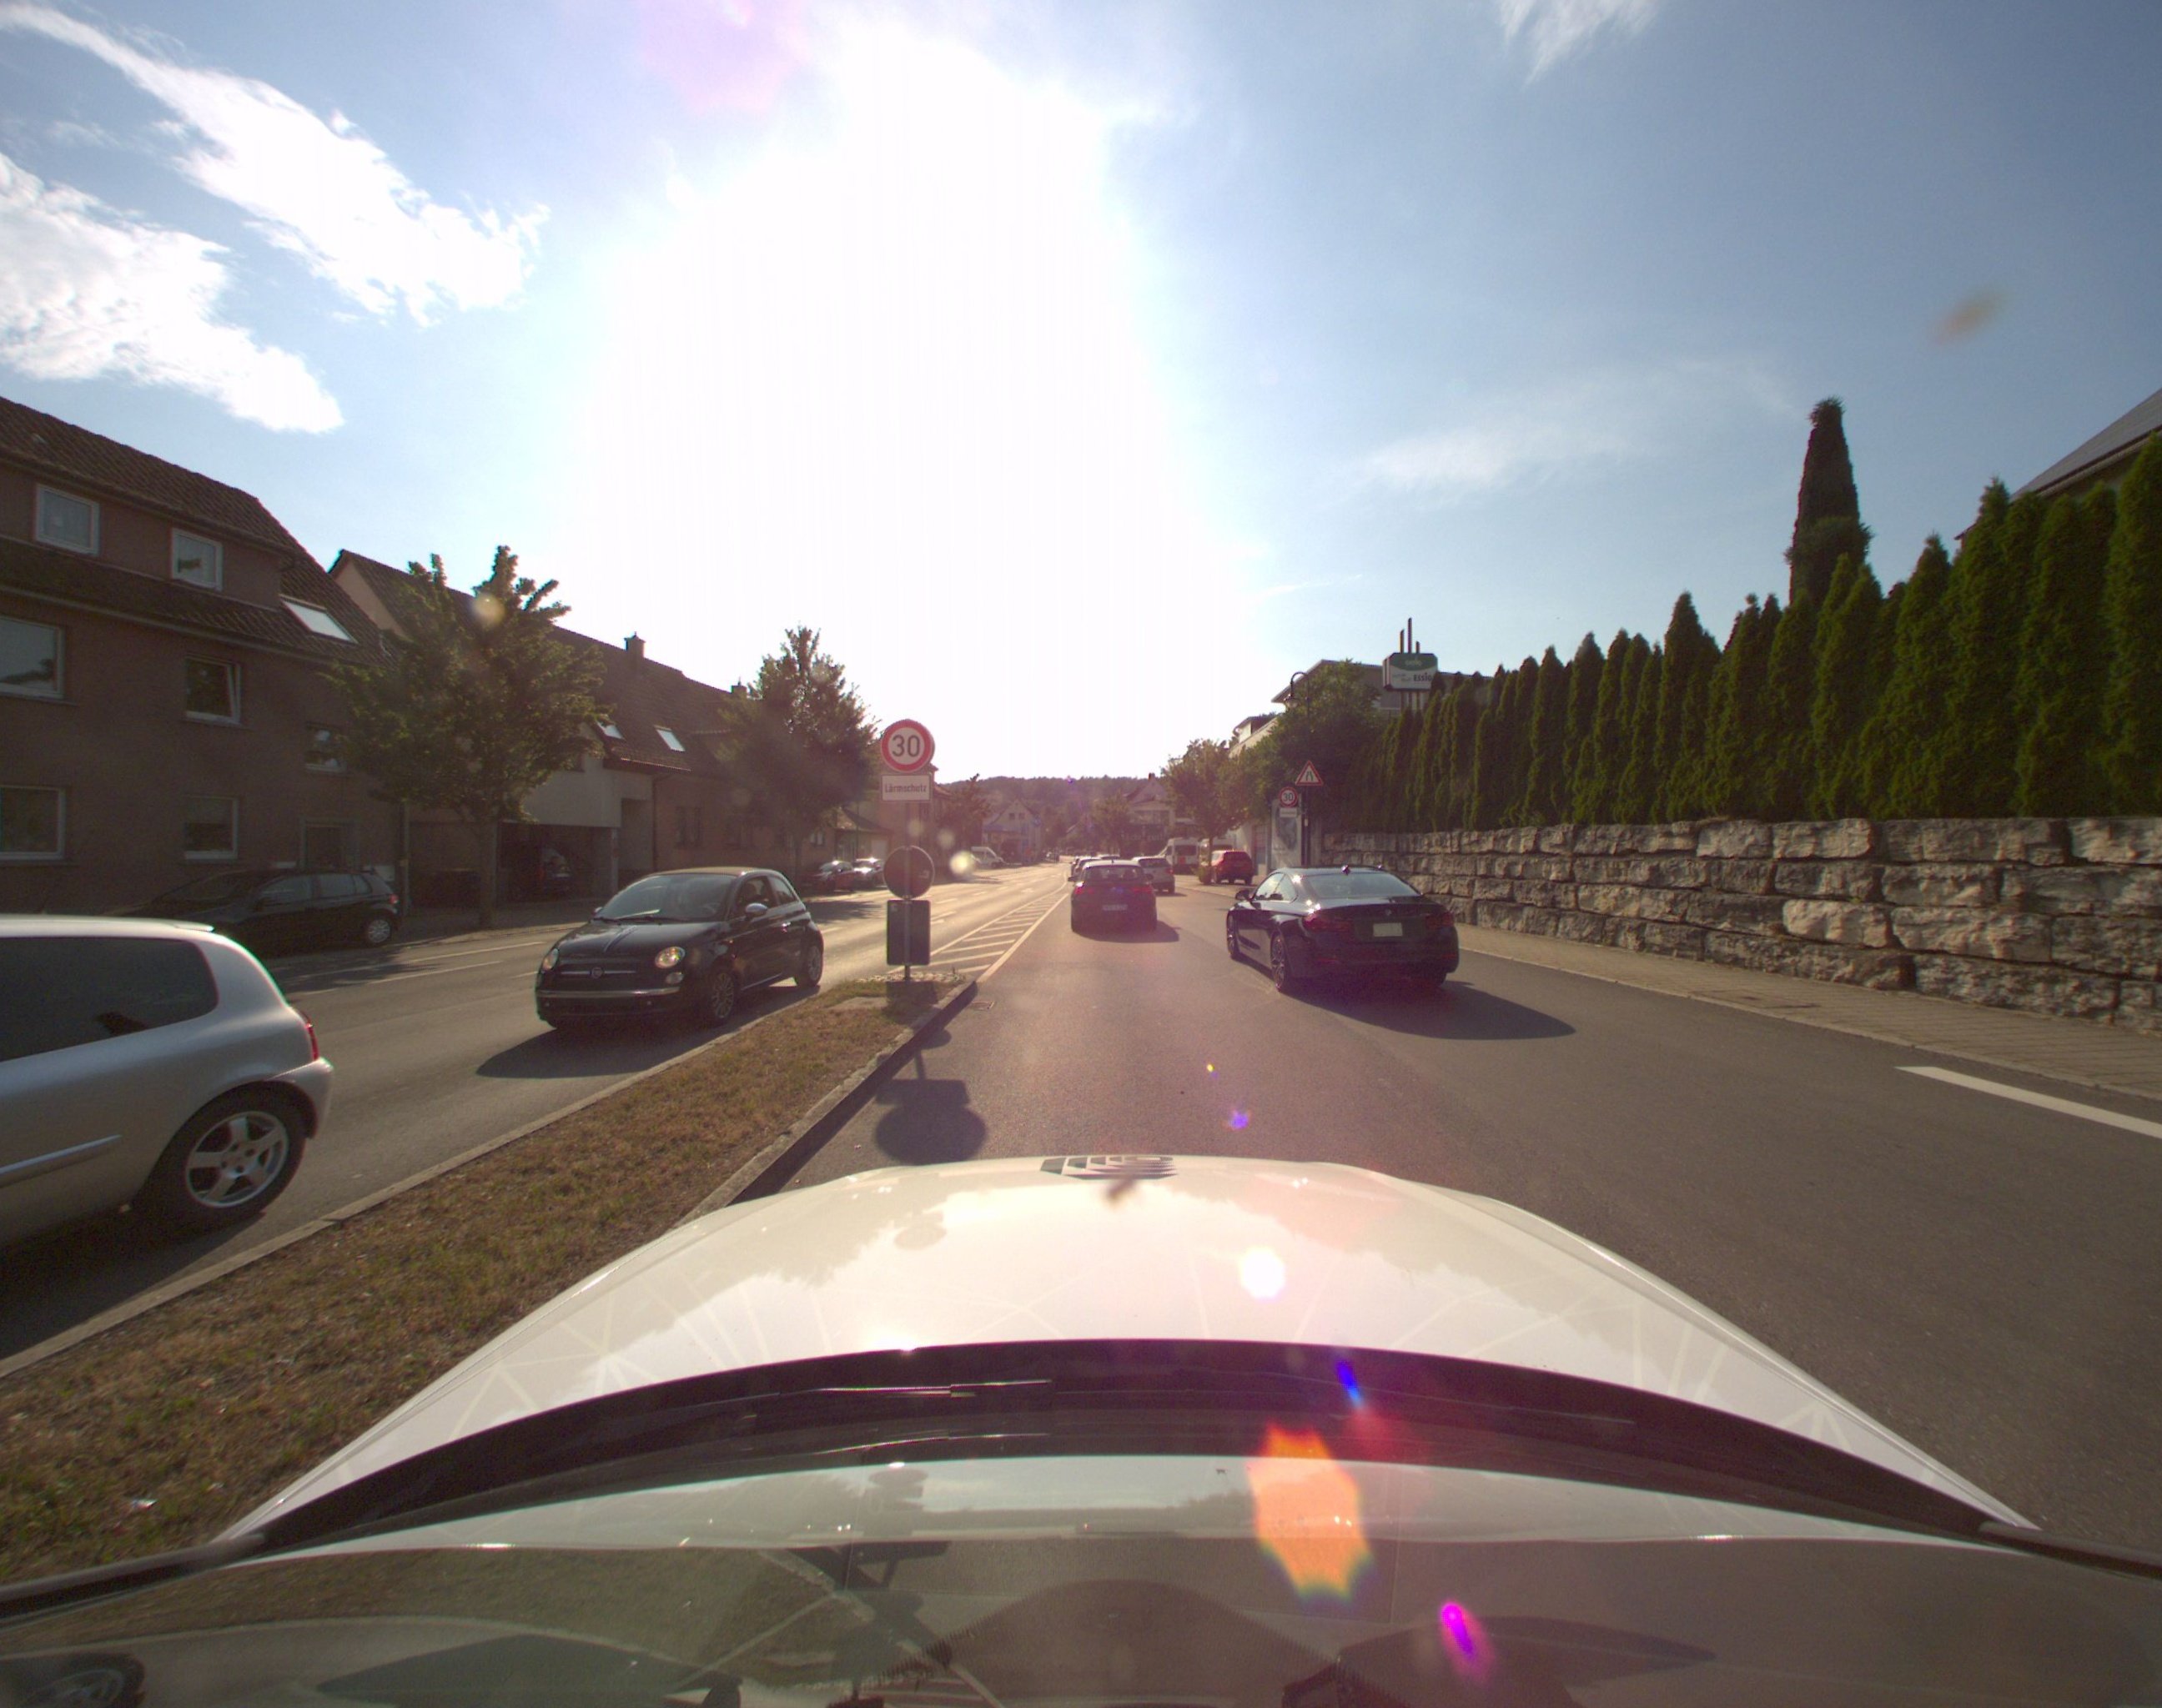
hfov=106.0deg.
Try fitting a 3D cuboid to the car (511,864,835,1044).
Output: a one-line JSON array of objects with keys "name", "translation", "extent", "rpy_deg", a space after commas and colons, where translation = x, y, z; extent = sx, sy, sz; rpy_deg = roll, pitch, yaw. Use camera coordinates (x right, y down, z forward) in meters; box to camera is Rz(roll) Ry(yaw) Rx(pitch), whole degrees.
[{"name": "car", "translation": [-4.032, 0.880, 8.729], "extent": [1.526, 1.462, 3.509], "rpy_deg": [-1, 0, 3]}]

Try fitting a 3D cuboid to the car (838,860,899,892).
[{"name": "car", "translation": [-11.196, 1.130, 43.208], "extent": [1.747, 1.479, 4.007], "rpy_deg": [2, 1, 6]}]

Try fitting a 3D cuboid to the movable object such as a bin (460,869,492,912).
[{"name": "movable object such as a bin", "translation": [-16.652, 1.004, 22.426], "extent": [0.473, 1.137, 0.501], "rpy_deg": [-1, 0, 2]}]

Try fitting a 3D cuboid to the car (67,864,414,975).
[{"name": "car", "translation": [-14.001, 0.986, 13.998], "extent": [1.613, 1.510, 4.133], "rpy_deg": [-1, 0, 0]}]

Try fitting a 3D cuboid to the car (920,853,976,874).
[{"name": "car", "translation": [-12.839, 0.906, 78.666], "extent": [4.956, 1.999, 1.937], "rpy_deg": [0, 2, 2]}]

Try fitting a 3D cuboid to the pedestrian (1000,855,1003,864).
[{"name": "pedestrian", "translation": [-12.149, 0.876, 124.378], "extent": [0.263, 1.383, 0.286], "rpy_deg": [-1, 0, -25]}]

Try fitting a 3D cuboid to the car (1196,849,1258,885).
[{"name": "car", "translation": [7.343, 0.630, 41.320], "extent": [1.833, 1.649, 4.527], "rpy_deg": [-1, 0, -7]}]

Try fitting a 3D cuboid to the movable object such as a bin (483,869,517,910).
[{"name": "movable object such as a bin", "translation": [-16.789, 1.012, 23.538], "extent": [0.564, 1.142, 0.575], "rpy_deg": [-1, 0, -3]}]

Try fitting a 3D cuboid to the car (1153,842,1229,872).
[{"name": "car", "translation": [9.146, 0.231, 68.130], "extent": [6.028, 2.363, 2.042], "rpy_deg": [-1, 0, -3]}]

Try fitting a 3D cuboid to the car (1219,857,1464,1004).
[{"name": "car", "translation": [2.965, 0.768, 10.261], "extent": [1.694, 1.369, 4.262], "rpy_deg": [-2, 0, 0]}]

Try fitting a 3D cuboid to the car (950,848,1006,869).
[{"name": "car", "translation": [-11.891, 0.540, 94.416], "extent": [6.138, 2.444, 2.249], "rpy_deg": [0, 0, 0]}]

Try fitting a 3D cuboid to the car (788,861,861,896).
[{"name": "car", "translation": [-11.885, 1.087, 37.999], "extent": [1.657, 1.487, 4.008], "rpy_deg": [2, 0, 7]}]

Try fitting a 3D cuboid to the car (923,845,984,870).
[{"name": "car", "translation": [-13.187, 0.337, 84.688], "extent": [5.893, 2.479, 2.197], "rpy_deg": [0, 1, 4]}]

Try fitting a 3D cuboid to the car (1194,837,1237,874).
[{"name": "car", "translation": [10.394, 0.093, 63.551], "extent": [2.105, 2.722, 6.439], "rpy_deg": [-1, 0, -1]}]

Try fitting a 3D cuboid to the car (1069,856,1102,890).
[{"name": "car", "translation": [0.243, 0.928, 41.632], "extent": [1.586, 1.600, 3.893], "rpy_deg": [-1, 0, 0]}]

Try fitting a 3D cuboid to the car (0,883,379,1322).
[{"name": "car", "translation": [-4.447, 0.866, 2.336], "extent": [1.582, 1.427, 3.582], "rpy_deg": [-1, 0, 4]}]

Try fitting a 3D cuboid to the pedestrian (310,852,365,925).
[{"name": "pedestrian", "translation": [-17.269, 0.778, 18.922], "extent": [0.713, 1.607, 0.783], "rpy_deg": [2, 1, 31]}]

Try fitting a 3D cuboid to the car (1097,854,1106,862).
[{"name": "car", "translation": [3.940, 0.782, 159.799], "extent": [1.592, 1.485, 3.473], "rpy_deg": [0, 0, -1]}]

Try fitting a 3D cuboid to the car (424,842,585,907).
[{"name": "car", "translation": [-18.091, 0.624, 25.662], "extent": [3.804, 1.881, 1.781], "rpy_deg": [1, 0, 3]}]

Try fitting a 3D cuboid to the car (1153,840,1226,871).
[{"name": "car", "translation": [9.419, 0.109, 71.178], "extent": [6.028, 2.516, 2.042], "rpy_deg": [-1, 0, -3]}]

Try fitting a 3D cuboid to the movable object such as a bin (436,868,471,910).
[{"name": "movable object such as a bin", "translation": [-17.212, 0.956, 22.352], "extent": [0.508, 1.137, 0.541], "rpy_deg": [-1, 0, 2]}]

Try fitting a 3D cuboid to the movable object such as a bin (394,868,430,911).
[{"name": "movable object such as a bin", "translation": [-18.434, 0.978, 22.436], "extent": [0.508, 1.137, 0.541], "rpy_deg": [-1, 0, 2]}]

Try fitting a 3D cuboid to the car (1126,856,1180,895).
[{"name": "car", "translation": [2.823, 0.808, 32.569], "extent": [1.749, 1.414, 3.419], "rpy_deg": [-1, 0, -2]}]

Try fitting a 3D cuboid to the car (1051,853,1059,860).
[{"name": "car", "translation": [-5.567, 0.516, 172.763], "extent": [1.592, 1.485, 3.473], "rpy_deg": [0, 0, -1]}]

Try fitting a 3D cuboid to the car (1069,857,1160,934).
[{"name": "car", "translation": [0.703, 0.816, 17.727], "extent": [1.765, 1.456, 3.517], "rpy_deg": [-1, 0, 1]}]

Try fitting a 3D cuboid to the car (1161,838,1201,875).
[{"name": "car", "translation": [7.655, 0.162, 63.000], "extent": [2.143, 2.680, 6.600], "rpy_deg": [-1, 0, -1]}]

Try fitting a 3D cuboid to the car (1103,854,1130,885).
[{"name": "car", "translation": [2.201, 0.908, 50.224], "extent": [1.596, 1.767, 3.413], "rpy_deg": [-1, 0, 3]}]

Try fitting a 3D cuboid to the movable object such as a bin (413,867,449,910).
[{"name": "movable object such as a bin", "translation": [-17.881, 0.936, 22.405], "extent": [0.508, 1.137, 0.541], "rpy_deg": [-1, 0, 2]}]
